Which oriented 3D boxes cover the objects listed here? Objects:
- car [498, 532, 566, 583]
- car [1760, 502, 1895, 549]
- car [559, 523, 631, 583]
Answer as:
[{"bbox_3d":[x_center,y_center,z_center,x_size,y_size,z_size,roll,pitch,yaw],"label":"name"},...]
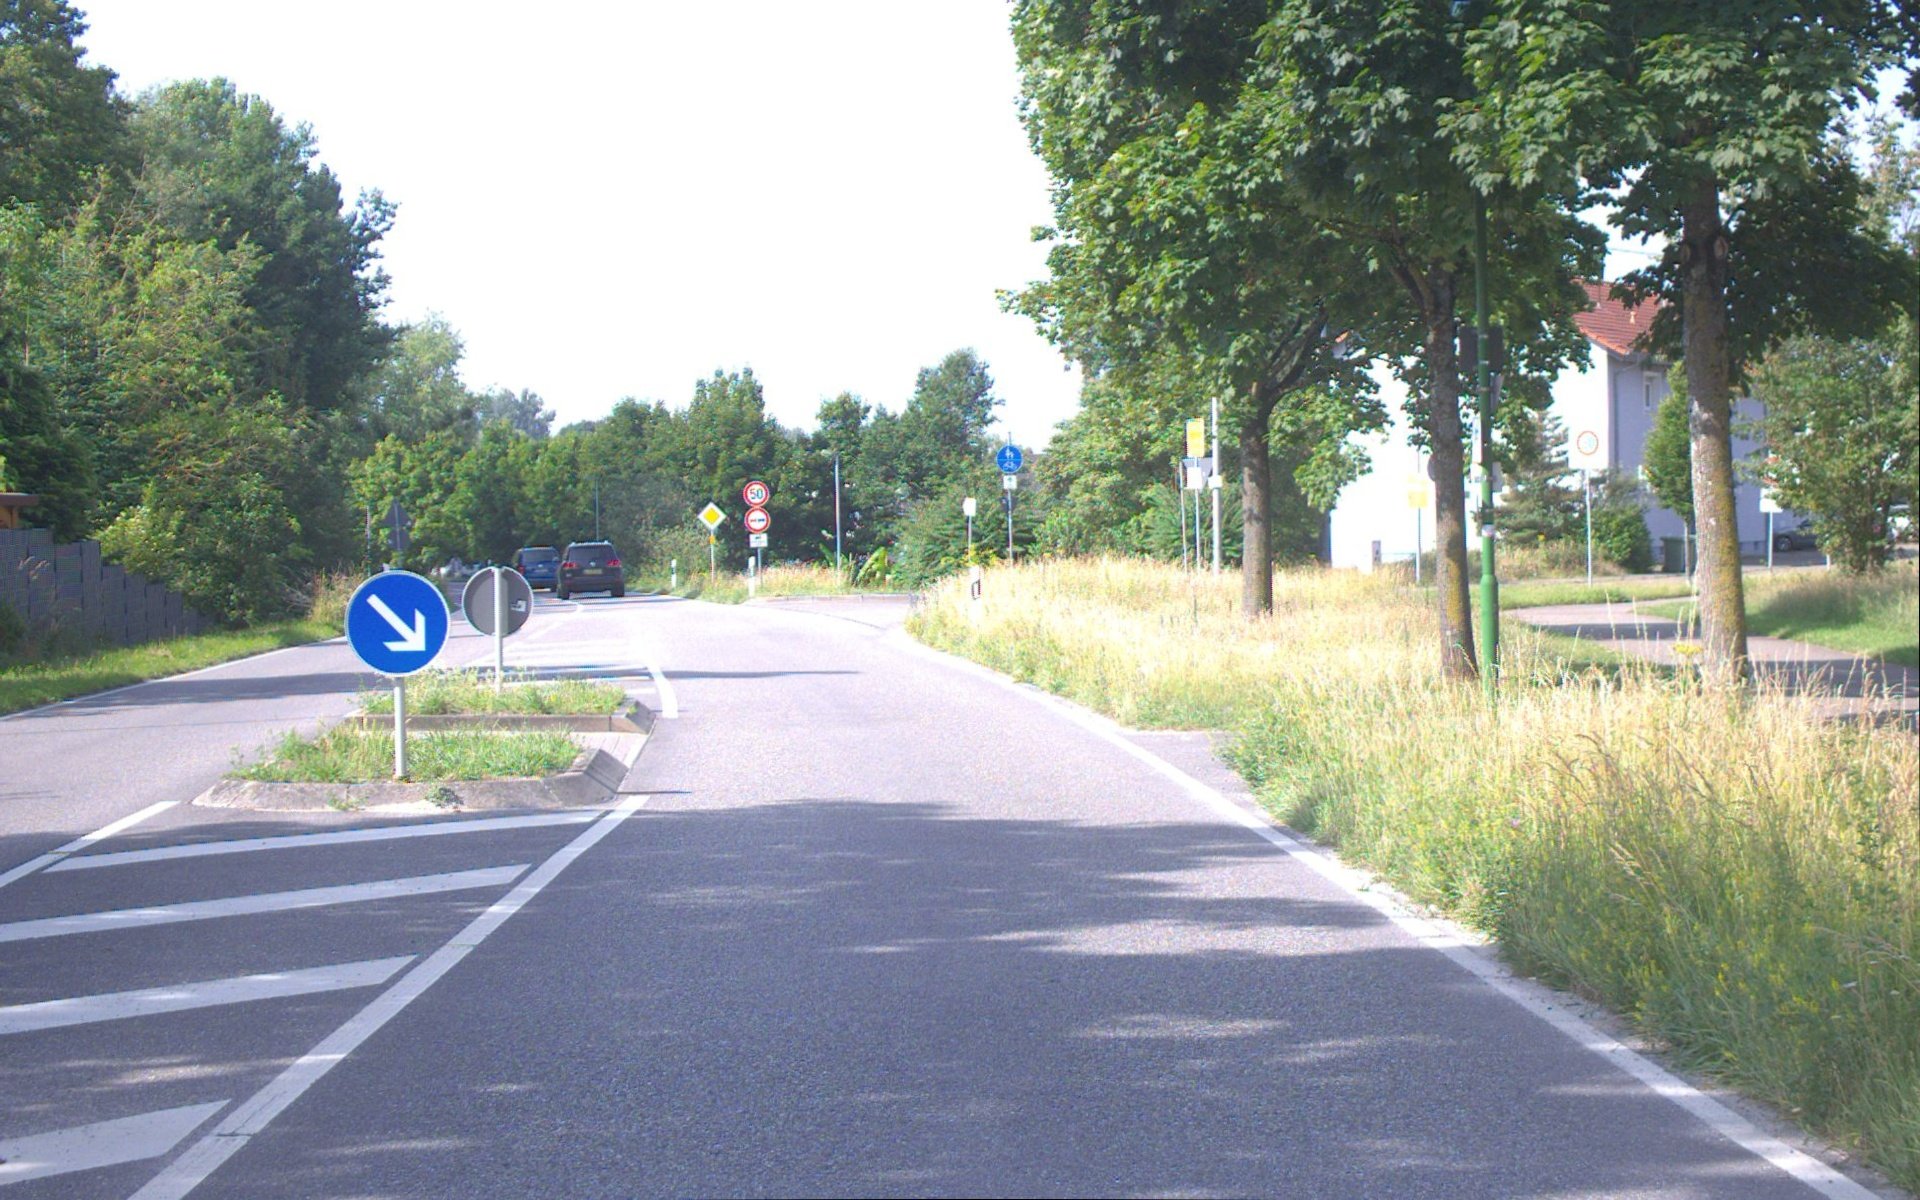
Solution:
[{"bbox_3d":[-15.473,-1.550,124.199,2.003,1.765,4.001,-1,2,-13],"label":"car"},{"bbox_3d":[32.008,-2.761,126.896,4.454,1.692,1.768,1,1,34],"label":"car"},{"bbox_3d":[-11.145,-1.443,104.825,1.925,1.765,4.001,-1,2,-9],"label":"car"}]
